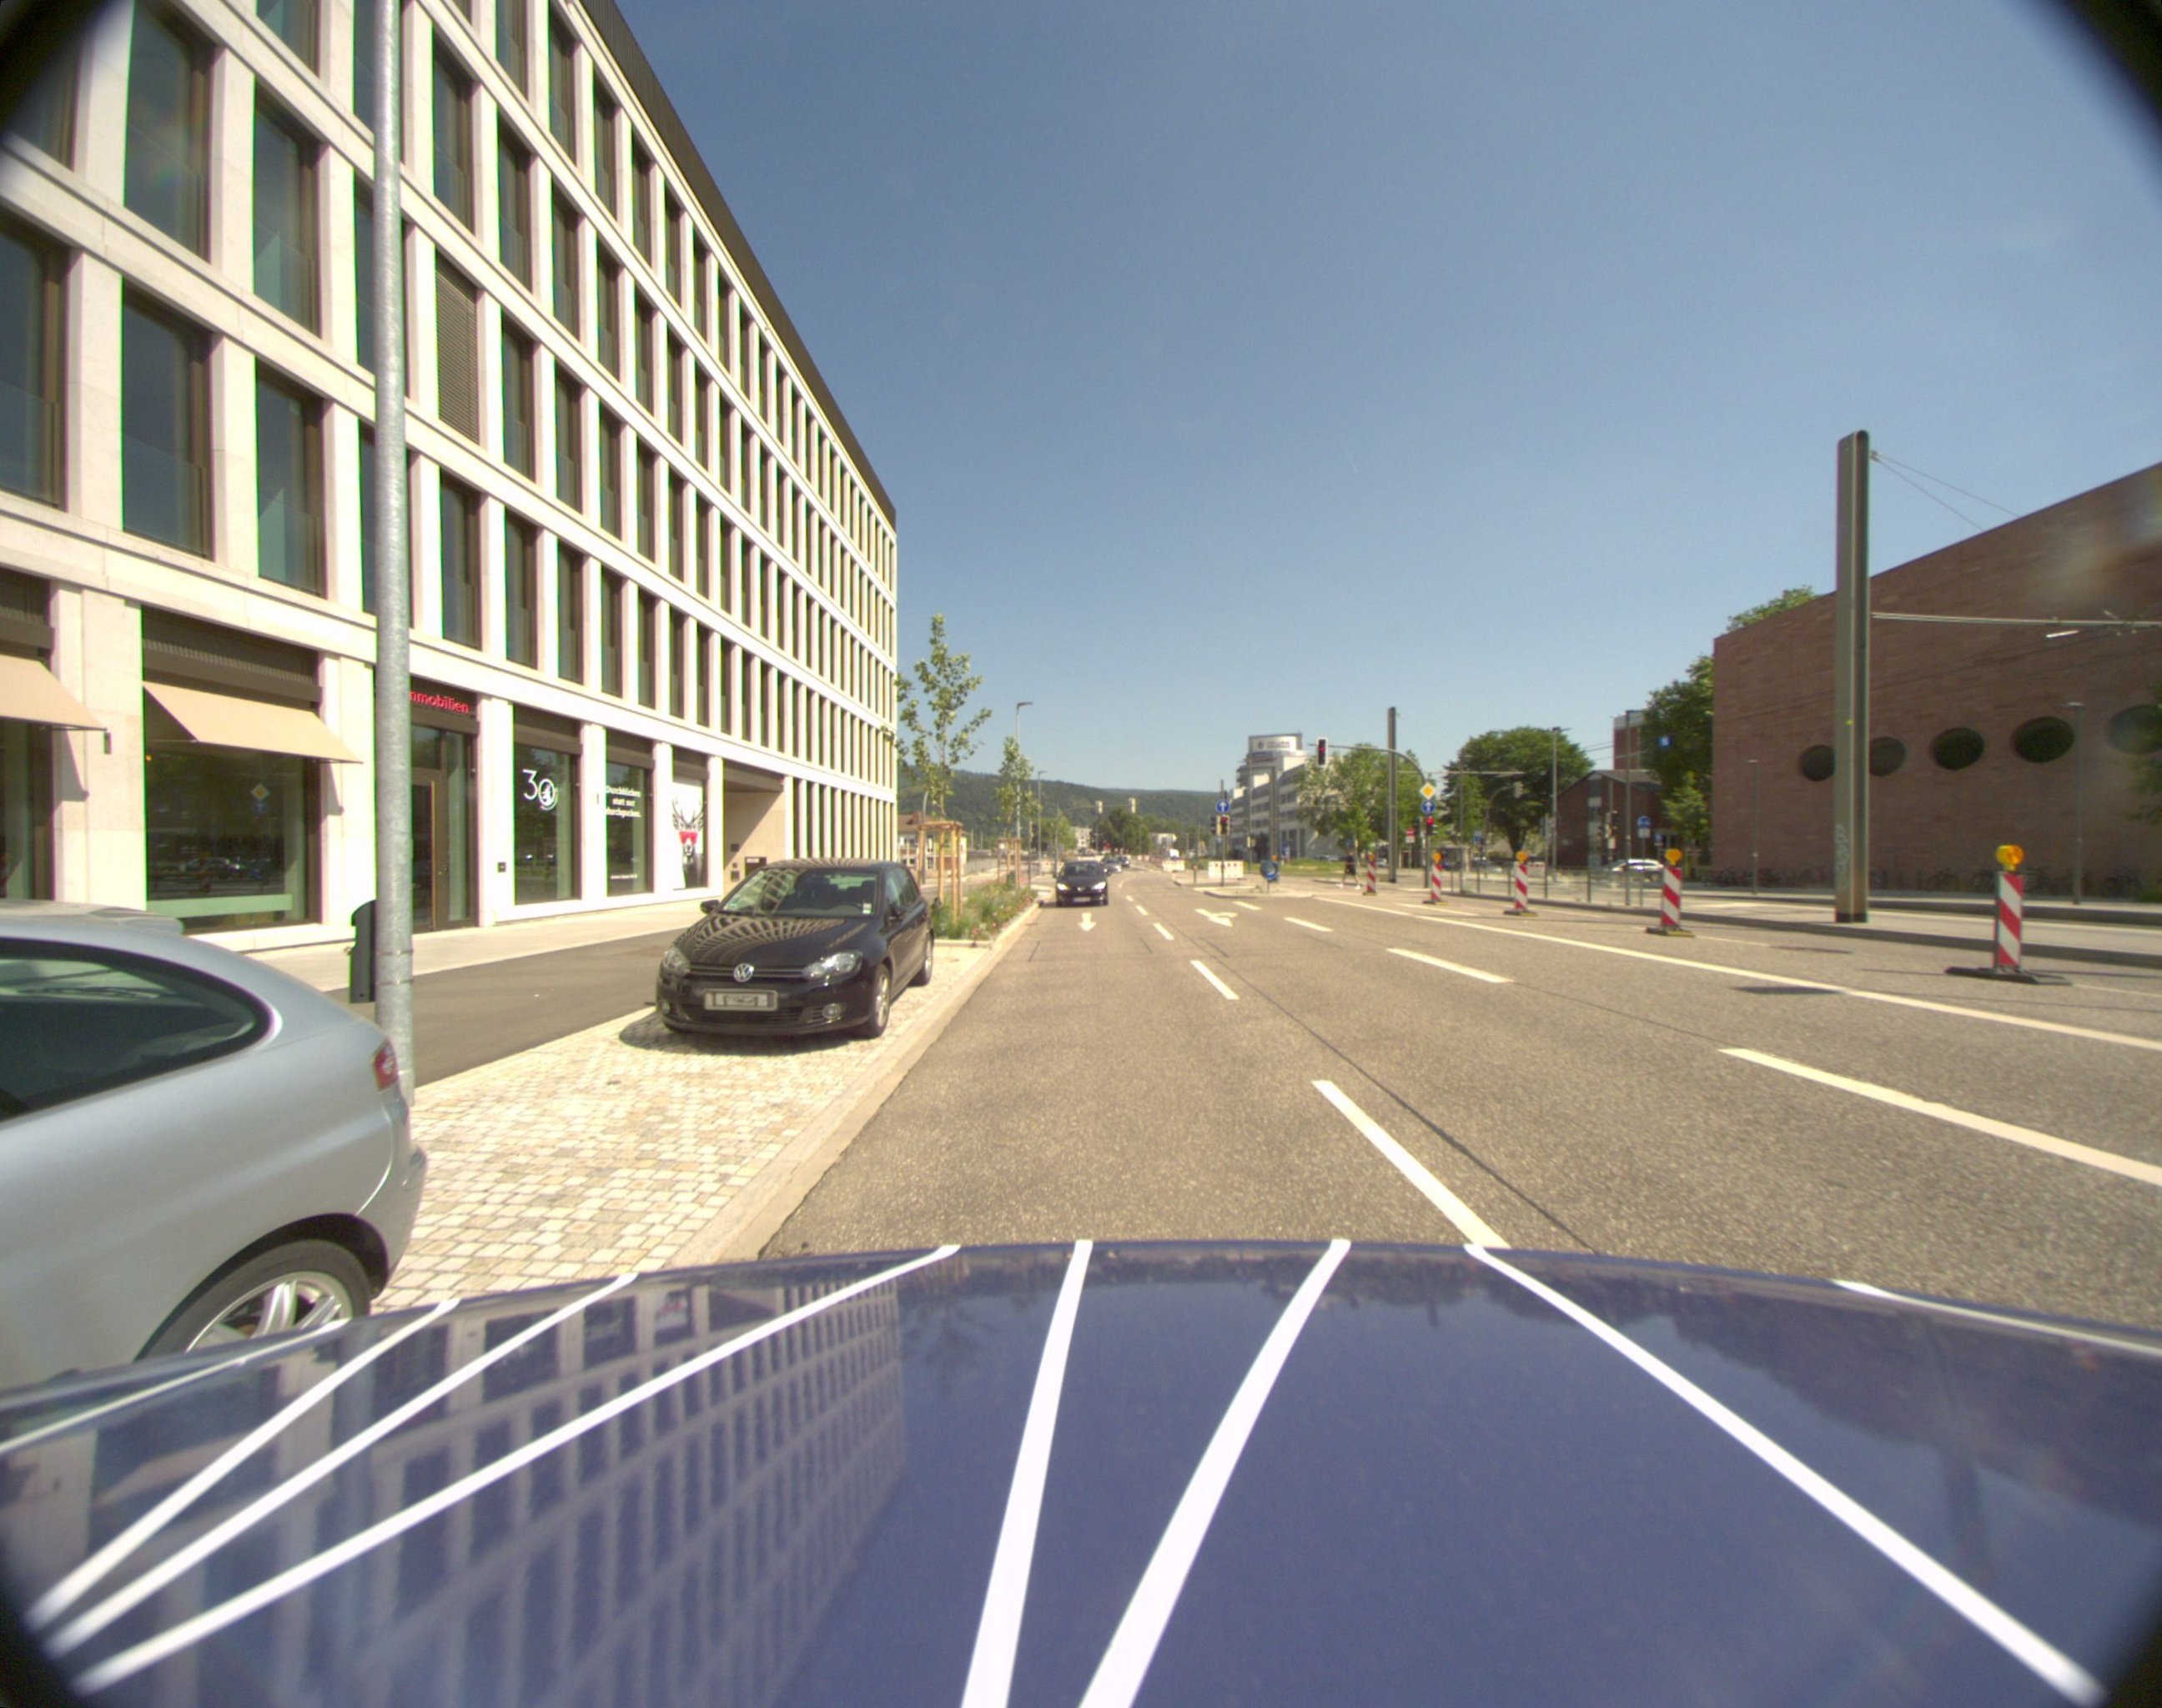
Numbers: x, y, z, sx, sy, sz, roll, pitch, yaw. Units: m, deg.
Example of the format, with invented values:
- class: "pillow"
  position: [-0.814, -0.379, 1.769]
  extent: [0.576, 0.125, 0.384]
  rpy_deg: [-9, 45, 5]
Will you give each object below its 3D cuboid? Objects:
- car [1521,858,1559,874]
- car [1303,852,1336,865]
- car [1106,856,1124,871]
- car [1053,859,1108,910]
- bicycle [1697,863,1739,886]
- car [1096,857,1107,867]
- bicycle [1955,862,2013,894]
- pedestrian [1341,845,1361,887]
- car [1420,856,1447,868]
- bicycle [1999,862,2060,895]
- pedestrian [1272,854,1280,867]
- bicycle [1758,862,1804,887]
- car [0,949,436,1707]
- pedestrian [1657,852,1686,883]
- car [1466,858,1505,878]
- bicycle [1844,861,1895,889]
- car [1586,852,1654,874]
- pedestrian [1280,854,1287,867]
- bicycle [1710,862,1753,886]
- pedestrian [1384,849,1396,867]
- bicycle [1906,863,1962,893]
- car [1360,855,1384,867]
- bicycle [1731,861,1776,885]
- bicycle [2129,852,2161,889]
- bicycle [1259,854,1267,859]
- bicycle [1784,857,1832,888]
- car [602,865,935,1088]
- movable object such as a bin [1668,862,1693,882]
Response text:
- class: "car"
  position: [45.329, 1.172, 75.089]
  extent: [1.542, 1.448, 3.788]
  rpy_deg: [-1, 0, 1]
- class: "car"
  position: [40.526, 0.747, 129.011]
  extent: [5.063, 2.167, 2.117]
  rpy_deg: [0, 1, 28]
- class: "car"
  position: [3.377, 0.933, 76.625]
  extent: [1.618, 1.433, 3.768]
  rpy_deg: [0, 0, 0]
- class: "car"
  position: [0.035, 0.910, 24.411]
  extent: [1.618, 1.433, 3.706]
  rpy_deg: [0, 1, 2]
- class: "bicycle"
  position: [34.321, 1.103, 40.948]
  extent: [2.058, 1.205, 0.539]
  rpy_deg: [0, 1, -10]
- class: "car"
  position: [3.404, 1.358, 126.315]
  extent: [1.618, 1.433, 3.768]
  rpy_deg: [-2, 1, 2]
- class: "bicycle"
  position: [36.040, 0.940, 30.330]
  extent: [2.058, 1.205, 0.539]
  rpy_deg: [-1, 0, -10]
- class: "pedestrian"
  position: [11.891, 0.543, 33.448]
  extent: [0.654, 1.823, 0.661]
  rpy_deg: [-1, 0, 5]
- class: "car"
  position: [48.753, 1.138, 105.158]
  extent: [1.773, 1.581, 3.636]
  rpy_deg: [-2, 0, -4]
- class: "bicycle"
  position: [36.419, 0.945, 29.174]
  extent: [2.058, 1.205, 0.539]
  rpy_deg: [-1, 0, -10]
- class: "pedestrian"
  position: [30.691, 1.022, 119.586]
  extent: [0.985, 2.002, 0.910]
  rpy_deg: [-2, 1, 3]
- class: "bicycle"
  position: [34.713, 1.015, 37.702]
  extent: [2.058, 1.205, 0.539]
  rpy_deg: [-1, 0, -10]
- class: "car"
  position: [-2.717, 0.970, 0.311]
  extent: [1.609, 1.379, 3.814]
  rpy_deg: [0, 0, 1]
- class: "pedestrian"
  position: [30.101, 0.667, 38.735]
  extent: [0.934, 1.553, 0.792]
  rpy_deg: [-1, 0, -26]
- class: "car"
  position: [39.446, 1.310, 74.202]
  extent: [1.702, 1.751, 3.939]
  rpy_deg: [-1, 1, 1]
- class: "bicycle"
  position: [35.534, 0.945, 34.259]
  extent: [2.058, 1.205, 0.539]
  rpy_deg: [-1, 0, -10]
- class: "car"
  position: [36.467, 0.598, 51.469]
  extent: [3.487, 1.362, 1.573]
  rpy_deg: [-1, 0, 0]
- class: "pedestrian"
  position: [31.901, 0.983, 119.531]
  extent: [0.841, 2.002, 0.983]
  rpy_deg: [-1, 1, 3]
- class: "bicycle"
  position: [34.427, 1.052, 40.218]
  extent: [2.058, 1.205, 0.539]
  rpy_deg: [-1, 0, -10]
- class: "pedestrian"
  position: [31.602, 0.422, 77.771]
  extent: [0.813, 1.836, 1.108]
  rpy_deg: [-1, 1, 7]
- class: "bicycle"
  position: [35.787, 0.986, 31.876]
  extent: [2.058, 1.205, 0.539]
  rpy_deg: [-1, 1, -10]
- class: "car"
  position: [41.248, 0.920, 107.896]
  extent: [1.773, 1.581, 3.636]
  rpy_deg: [-2, 0, -4]
- class: "bicycle"
  position: [34.452, 0.965, 38.935]
  extent: [2.058, 1.205, 0.539]
  rpy_deg: [-1, 0, -10]
- class: "bicycle"
  position: [36.885, 0.541, 25.873]
  extent: [2.058, 1.205, 0.539]
  rpy_deg: [-1, 0, -10]
- class: "bicycle"
  position: [40.640, 0.545, 169.997]
  extent: [1.650, 1.182, 0.438]
  rpy_deg: [-2, 1, 1]
- class: "bicycle"
  position: [34.785, 0.878, 36.376]
  extent: [2.058, 1.444, 0.539]
  rpy_deg: [-1, 0, -10]
- class: "car"
  position: [-2.588, 0.906, 7.381]
  extent: [1.741, 1.465, 3.979]
  rpy_deg: [2, 0, -3]
- class: "movable object such as a bin"
  position: [30.855, 0.914, 39.098]
  extent: [0.716, 1.026, 0.792]
  rpy_deg: [-1, 0, -26]
